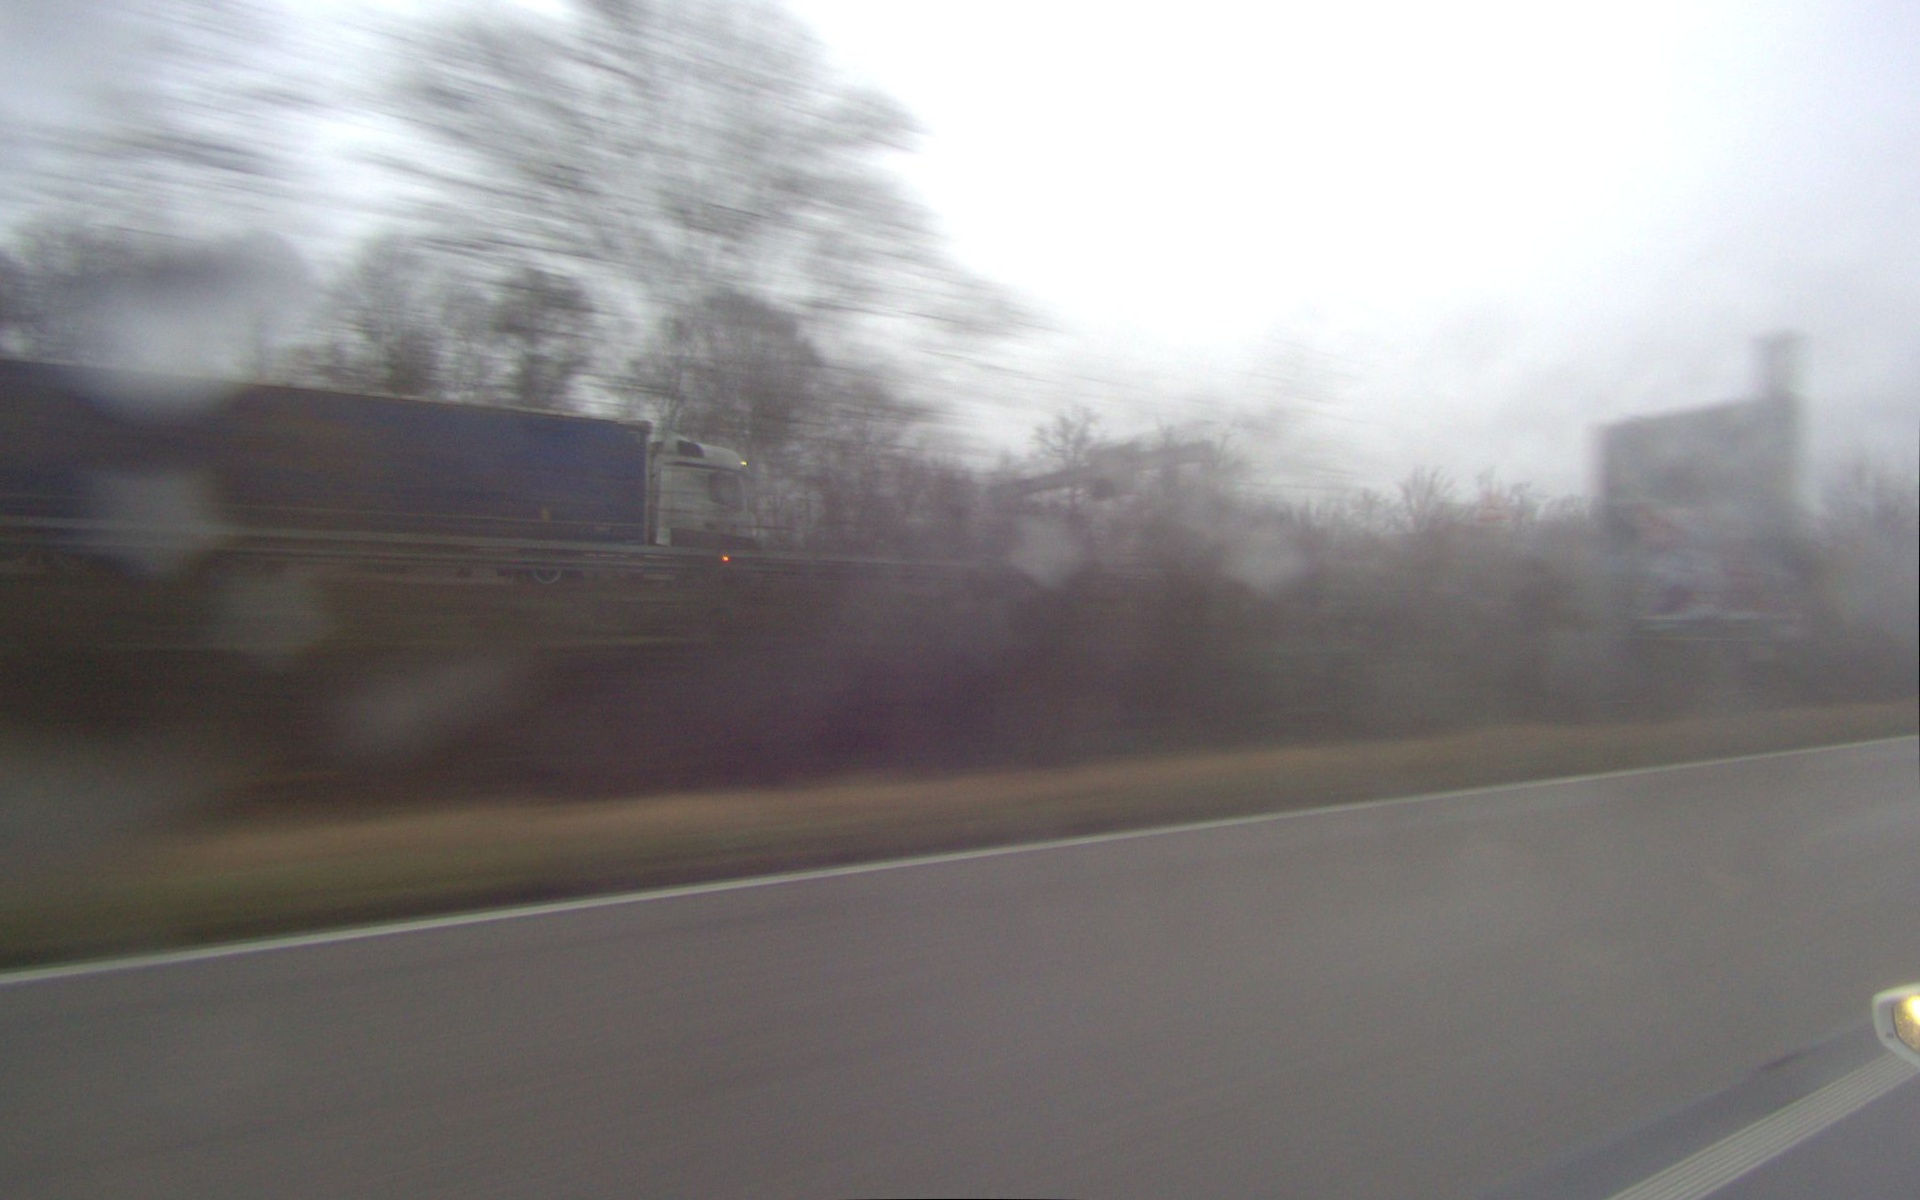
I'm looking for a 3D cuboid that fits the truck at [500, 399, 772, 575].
[{"bbox_3d":[-8.059,-2.572,25.079,5.995,3.680,2.978,1,-1,-30],"label":"truck"}]

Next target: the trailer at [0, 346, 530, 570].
[{"bbox_3d":[-15.205,-2.666,20.891,11.252,3.682,2.984,1,-1,-30],"label":"trailer"}]
